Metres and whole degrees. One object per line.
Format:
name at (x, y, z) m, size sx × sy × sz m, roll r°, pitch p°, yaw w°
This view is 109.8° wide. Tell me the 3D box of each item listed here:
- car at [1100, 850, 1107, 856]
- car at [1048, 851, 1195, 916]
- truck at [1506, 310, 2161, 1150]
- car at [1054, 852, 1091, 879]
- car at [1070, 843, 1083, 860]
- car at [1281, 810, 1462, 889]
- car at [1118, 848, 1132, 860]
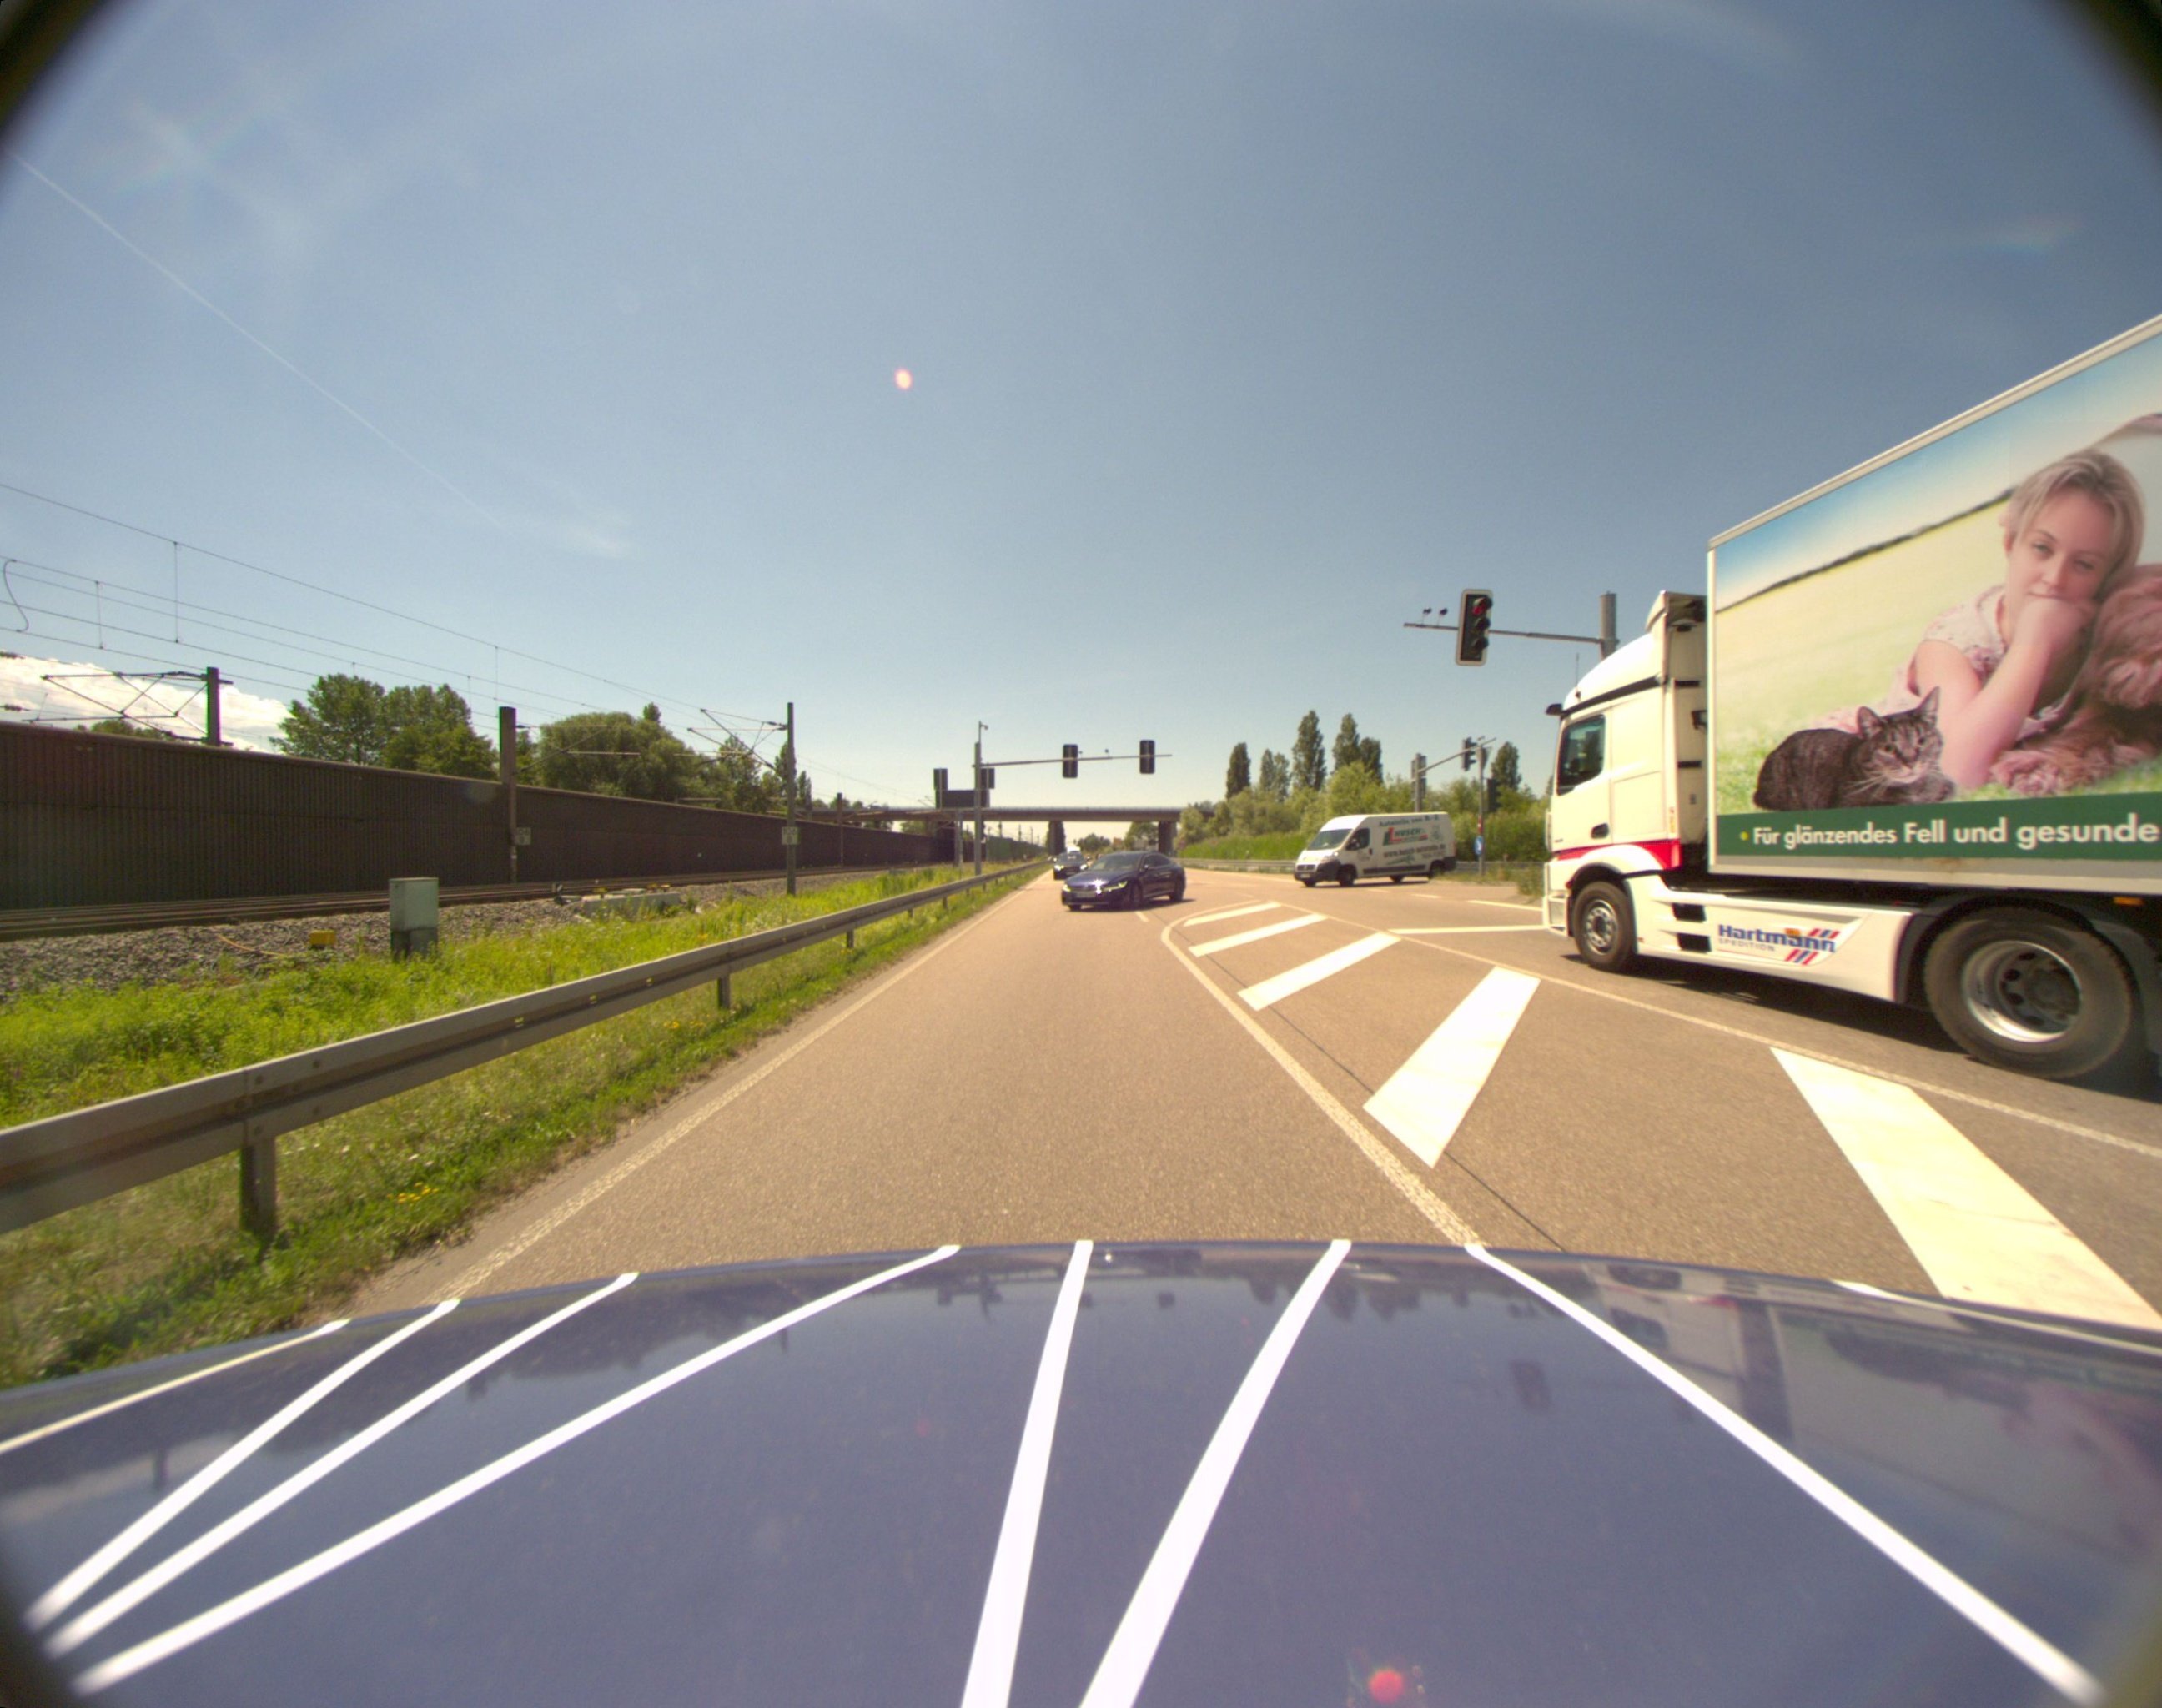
car at (5.874, -0.176, 199.806) m, size 1.589 × 1.553 × 3.687 m, roll -2°, pitch 0°, yaw 1°
car at (1.195, 0.687, 19.898) m, size 1.844 × 1.415 × 4.571 m, roll -1°, pitch 1°, yaw 32°
truck at (6.586, -0.652, 6.464) m, size 2.696 × 4.022 × 5.825 m, roll -2°, pitch 1°, yaw 1°
car at (-0.428, 0.585, 42.070) m, size 1.911 × 1.356 × 4.648 m, roll -2°, pitch 0°, yaw 1°
car at (-0.684, -0.396, 116.822) m, size 1.911 × 2.427 × 4.648 m, roll -2°, pitch 0°, yaw 1°
car at (10.325, -0.189, 26.976) m, size 5.988 × 2.480 × 2.226 m, roll -2°, pitch 0°, yaw -21°
car at (6.007, -0.031, 103.980) m, size 1.642 × 1.587 × 3.560 m, roll -1°, pitch 0°, yaw -3°
